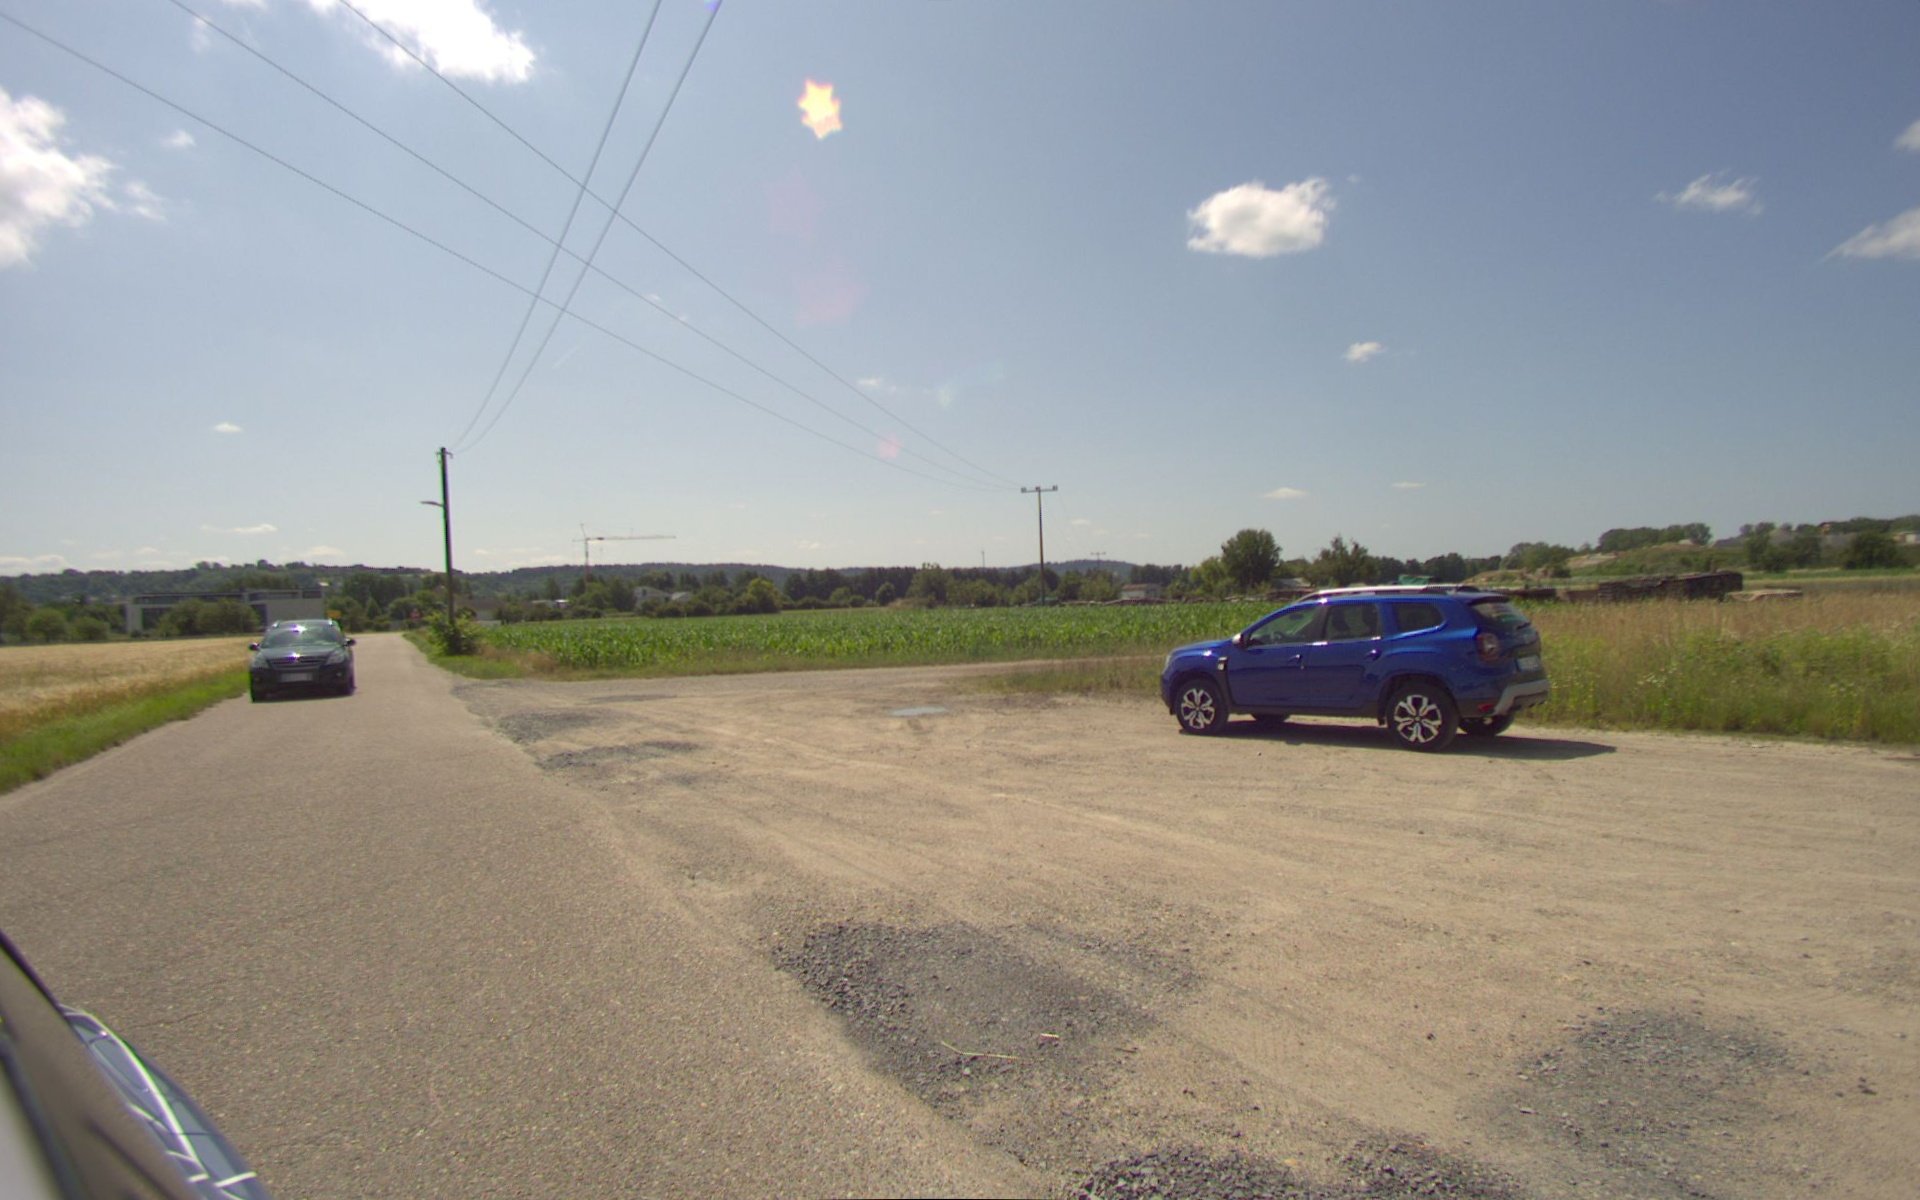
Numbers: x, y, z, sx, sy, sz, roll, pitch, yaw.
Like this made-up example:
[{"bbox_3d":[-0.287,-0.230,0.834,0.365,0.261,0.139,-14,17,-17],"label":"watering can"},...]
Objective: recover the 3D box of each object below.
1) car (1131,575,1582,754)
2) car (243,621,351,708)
[{"bbox_3d":[4.351,0.689,11.722,1.836,1.673,4.464,-1,-2,-42],"label":"car"},{"bbox_3d":[-14.607,1.368,22.491,1.719,1.692,4.268,-1,-1,-29],"label":"car"}]
